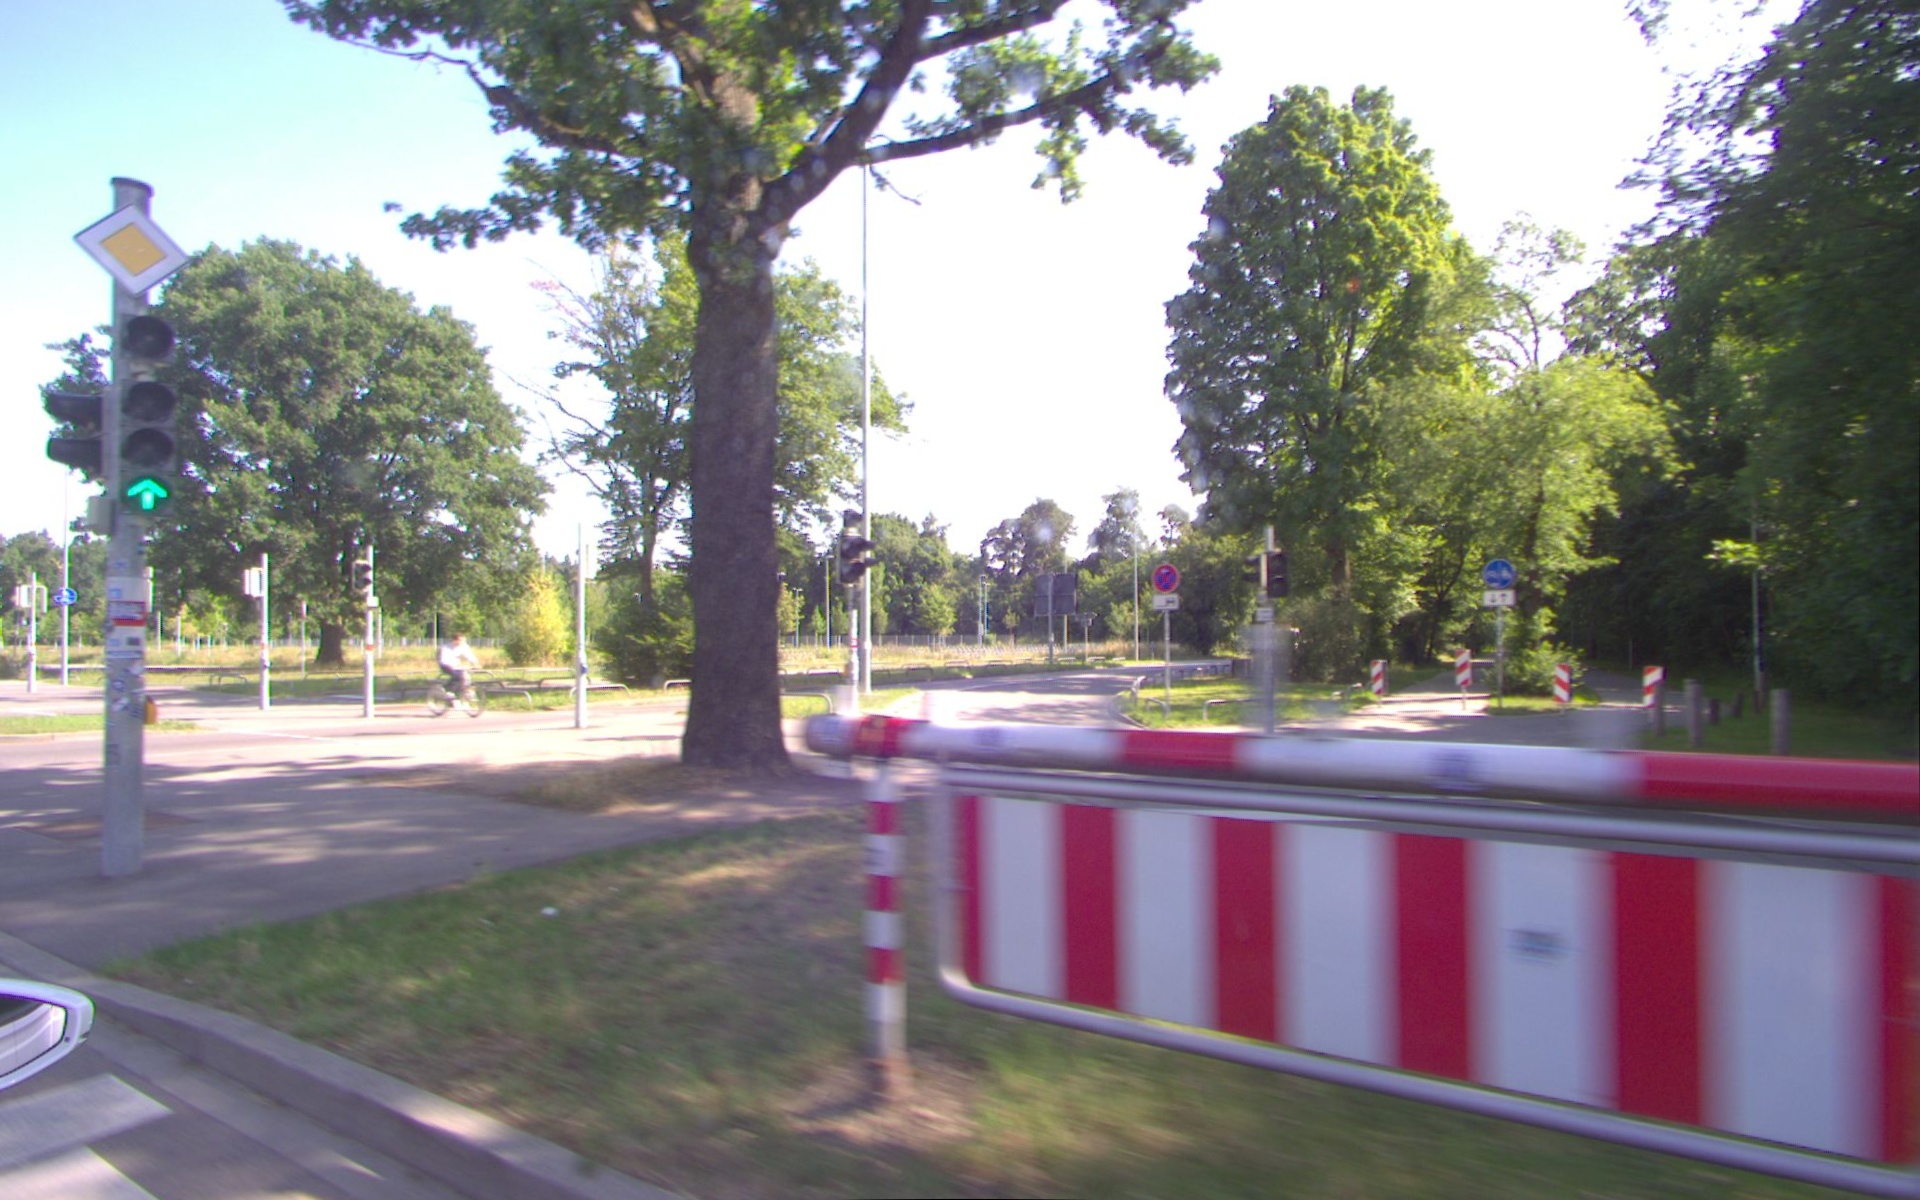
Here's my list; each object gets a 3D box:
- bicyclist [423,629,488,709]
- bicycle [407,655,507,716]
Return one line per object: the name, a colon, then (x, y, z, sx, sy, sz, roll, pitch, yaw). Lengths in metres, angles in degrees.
bicyclist: (-10.742, 1.444, 21.325, 1.040, 1.660, 0.725, -1, -1, 22)
bicycle: (-10.703, 1.791, 21.297, 2.065, 1.214, 0.725, -1, -2, 22)
